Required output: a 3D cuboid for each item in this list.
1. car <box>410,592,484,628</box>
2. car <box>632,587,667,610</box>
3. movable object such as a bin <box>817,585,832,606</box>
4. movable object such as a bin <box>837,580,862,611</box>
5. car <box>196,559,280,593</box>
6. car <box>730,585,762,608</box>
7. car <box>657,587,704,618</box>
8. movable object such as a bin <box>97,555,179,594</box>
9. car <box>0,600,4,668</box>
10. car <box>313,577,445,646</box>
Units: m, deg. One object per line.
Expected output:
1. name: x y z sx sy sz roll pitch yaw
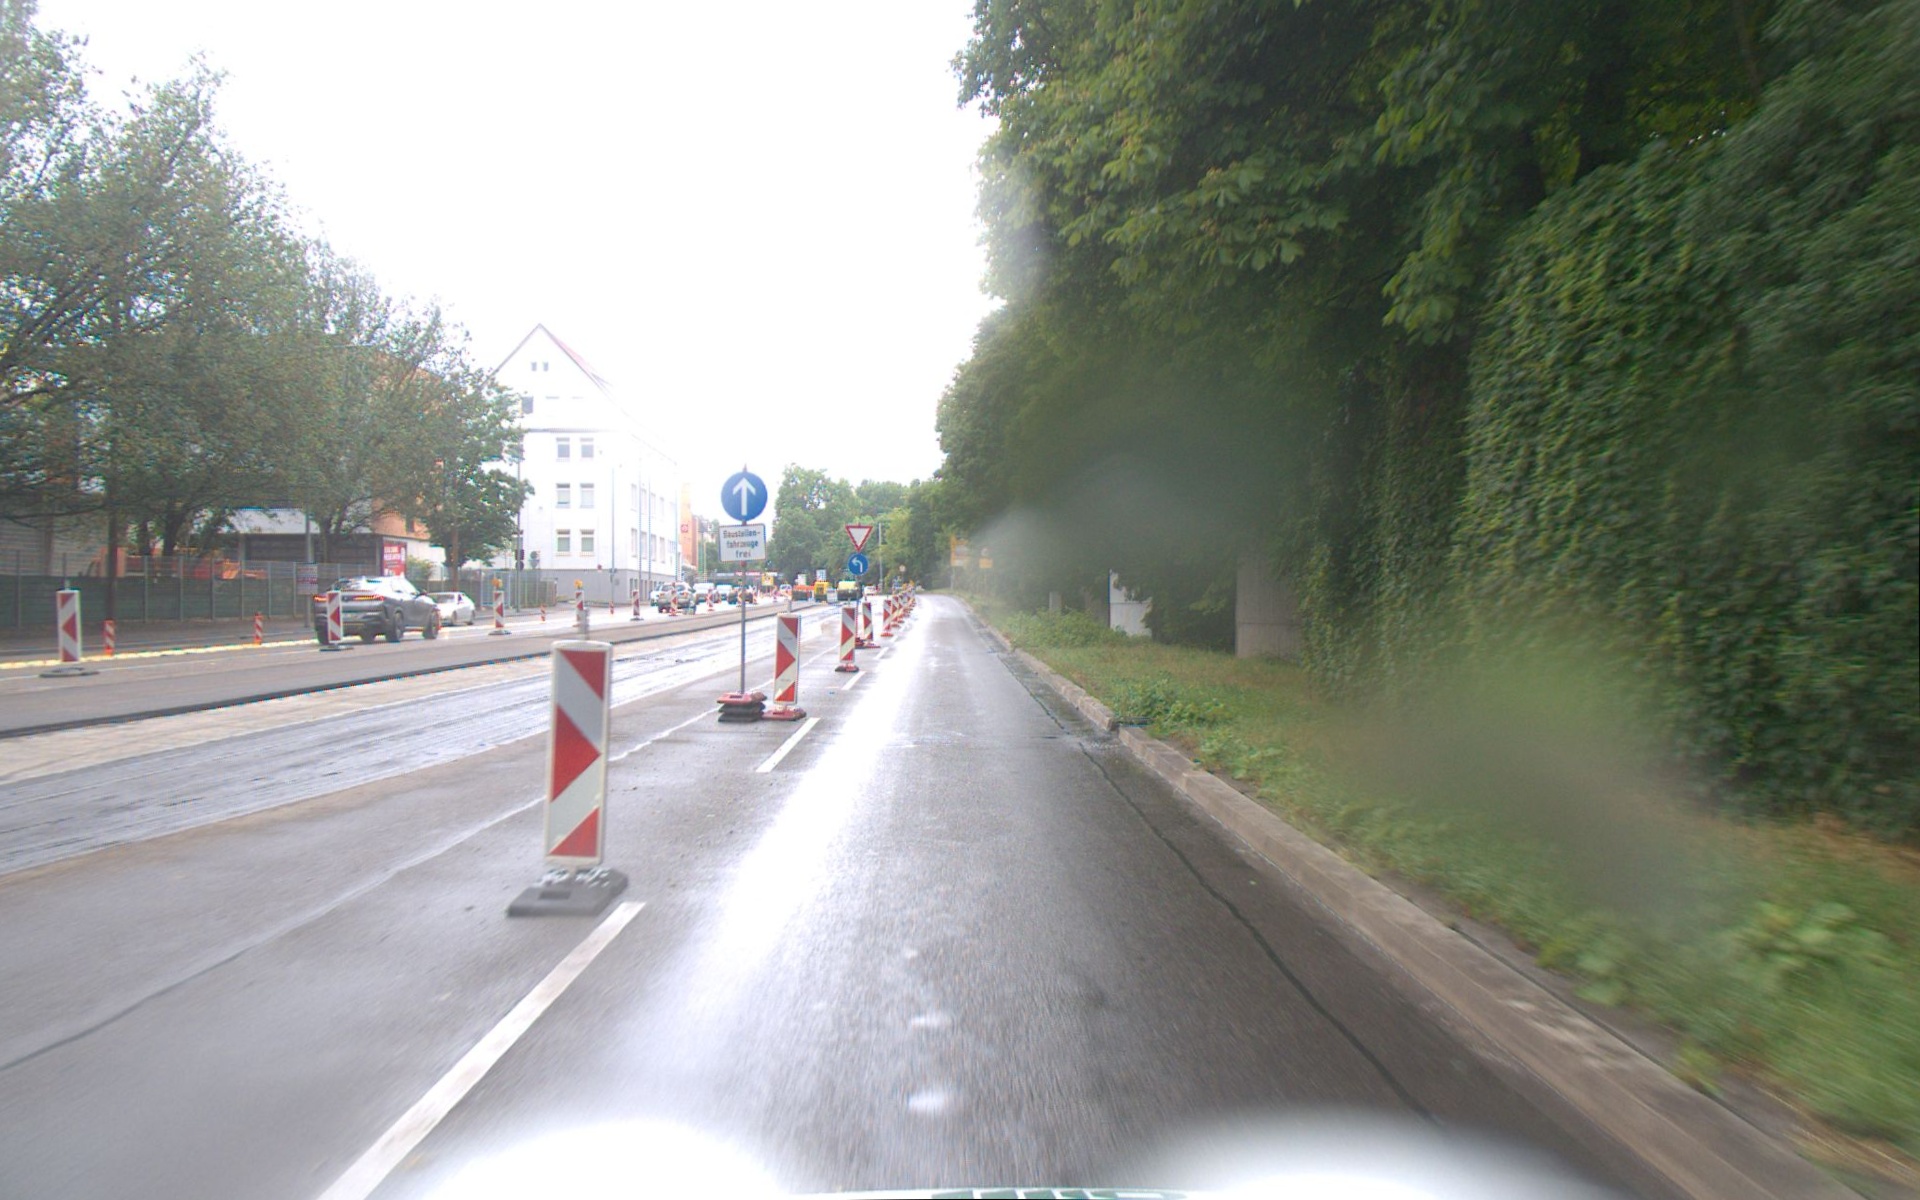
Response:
1. car: -21.124 0.395 68.310 1.633 1.338 4.455 -2 0 0
2. car: -24.210 -0.123 129.058 1.821 1.735 4.364 -2 0 -1
3. movable object such as a bin: -11.193 -0.368 136.925 1.061 1.673 2.438 0 1 -2
4. movable object such as a bin: -9.716 -0.422 145.460 1.863 2.654 5.382 -1 1 -1
5. car: -34.055 -1.109 78.000 3.945 1.554 1.992 0 1 37
6. car: -16.086 -0.271 124.442 1.854 1.679 4.395 0 0 0
7. car: -15.541 0.146 92.098 1.854 1.679 4.395 0 0 0
8. movable object such as a bin: -33.858 -1.037 68.093 3.952 1.554 1.743 0 1 42
9. car: -20.597 0.723 32.095 1.671 1.406 4.169 -1 0 -1
10. car: -14.871 0.273 42.606 1.854 1.679 4.395 0 0 0
